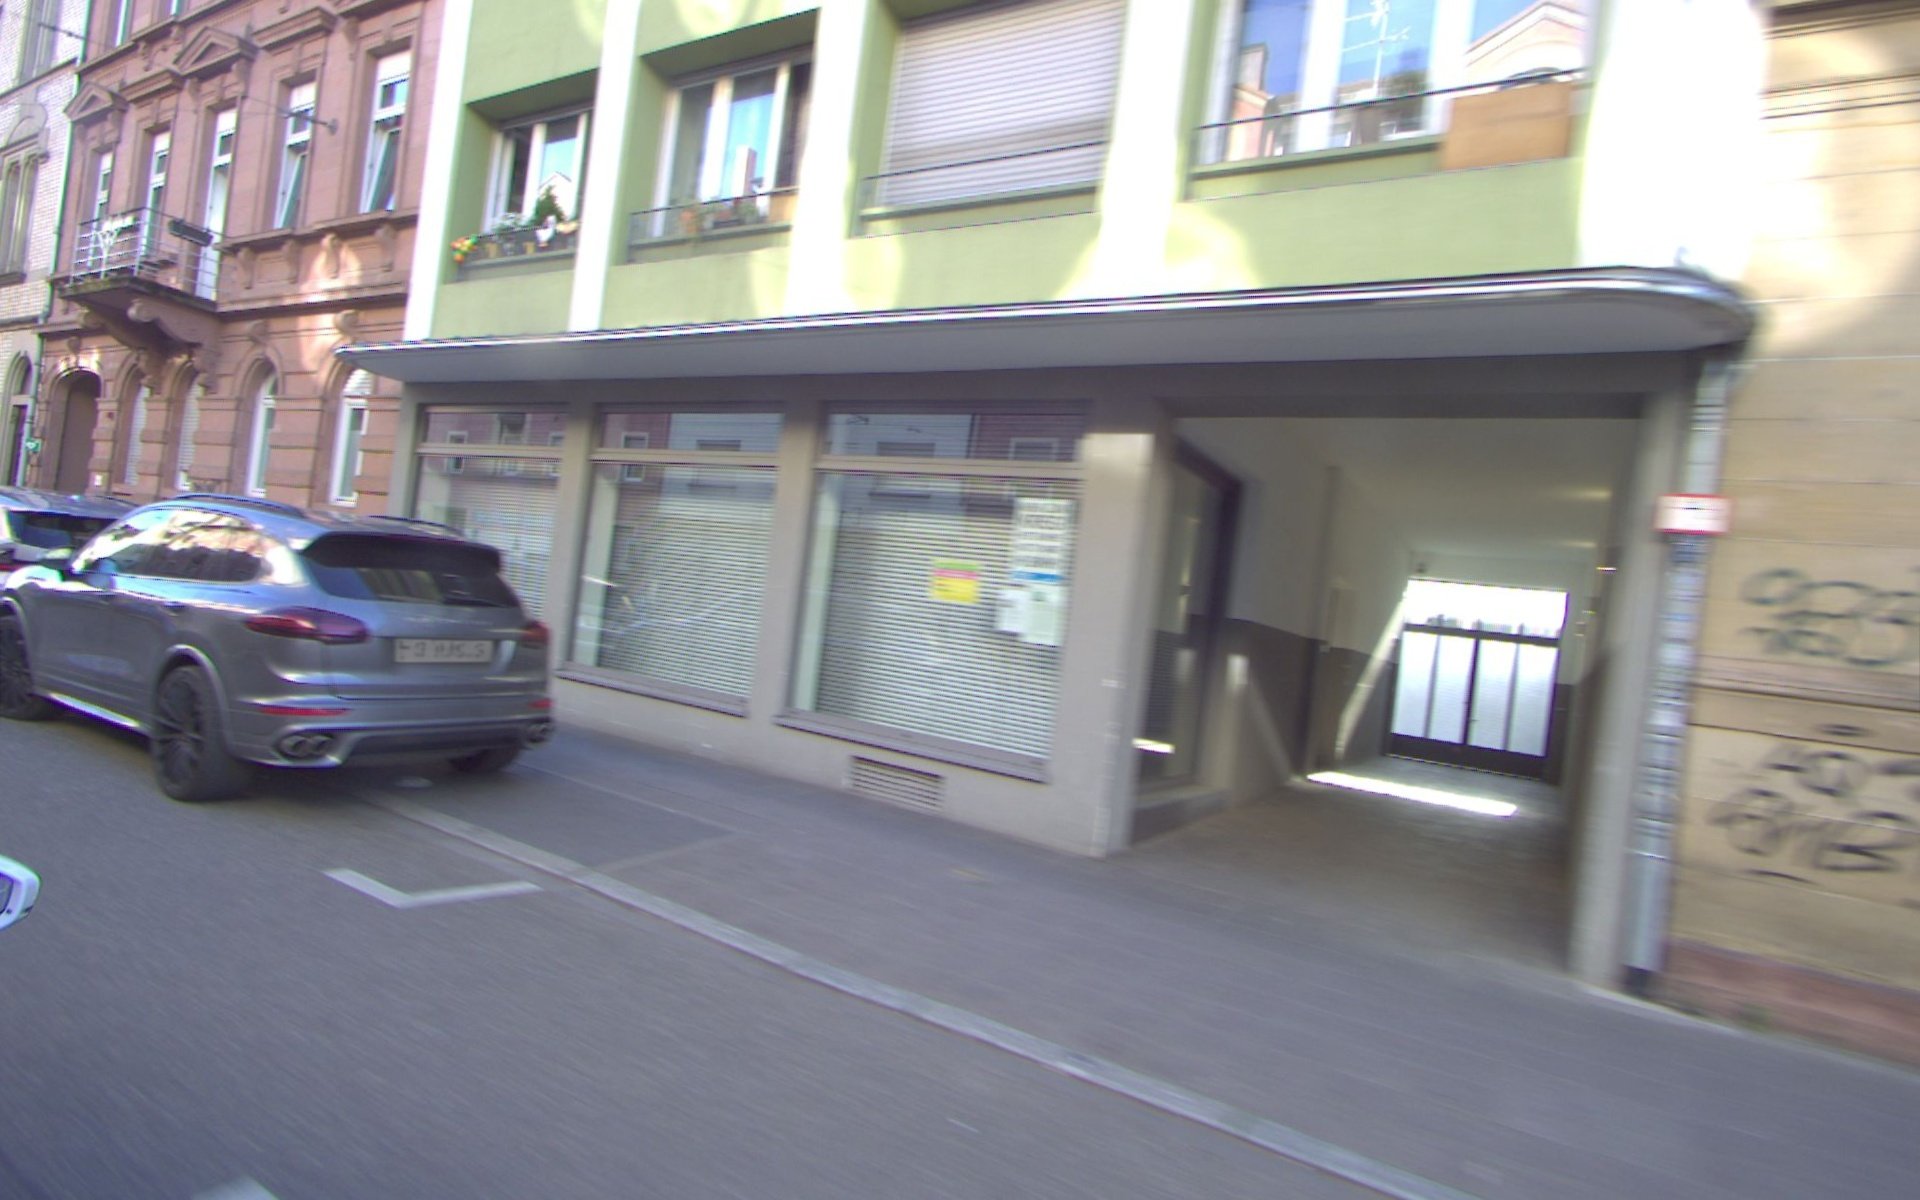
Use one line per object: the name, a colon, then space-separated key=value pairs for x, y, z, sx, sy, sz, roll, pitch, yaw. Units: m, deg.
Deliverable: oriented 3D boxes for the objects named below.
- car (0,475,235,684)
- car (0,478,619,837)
car: x=-9.443 y=-0.317 z=9.894 sx=4.324 sy=1.665 sz=1.871 roll=6 pitch=-2 yaw=27
car: x=-4.791 y=0.165 z=6.930 sx=4.706 sy=1.637 sz=1.995 roll=6 pitch=1 yaw=31
